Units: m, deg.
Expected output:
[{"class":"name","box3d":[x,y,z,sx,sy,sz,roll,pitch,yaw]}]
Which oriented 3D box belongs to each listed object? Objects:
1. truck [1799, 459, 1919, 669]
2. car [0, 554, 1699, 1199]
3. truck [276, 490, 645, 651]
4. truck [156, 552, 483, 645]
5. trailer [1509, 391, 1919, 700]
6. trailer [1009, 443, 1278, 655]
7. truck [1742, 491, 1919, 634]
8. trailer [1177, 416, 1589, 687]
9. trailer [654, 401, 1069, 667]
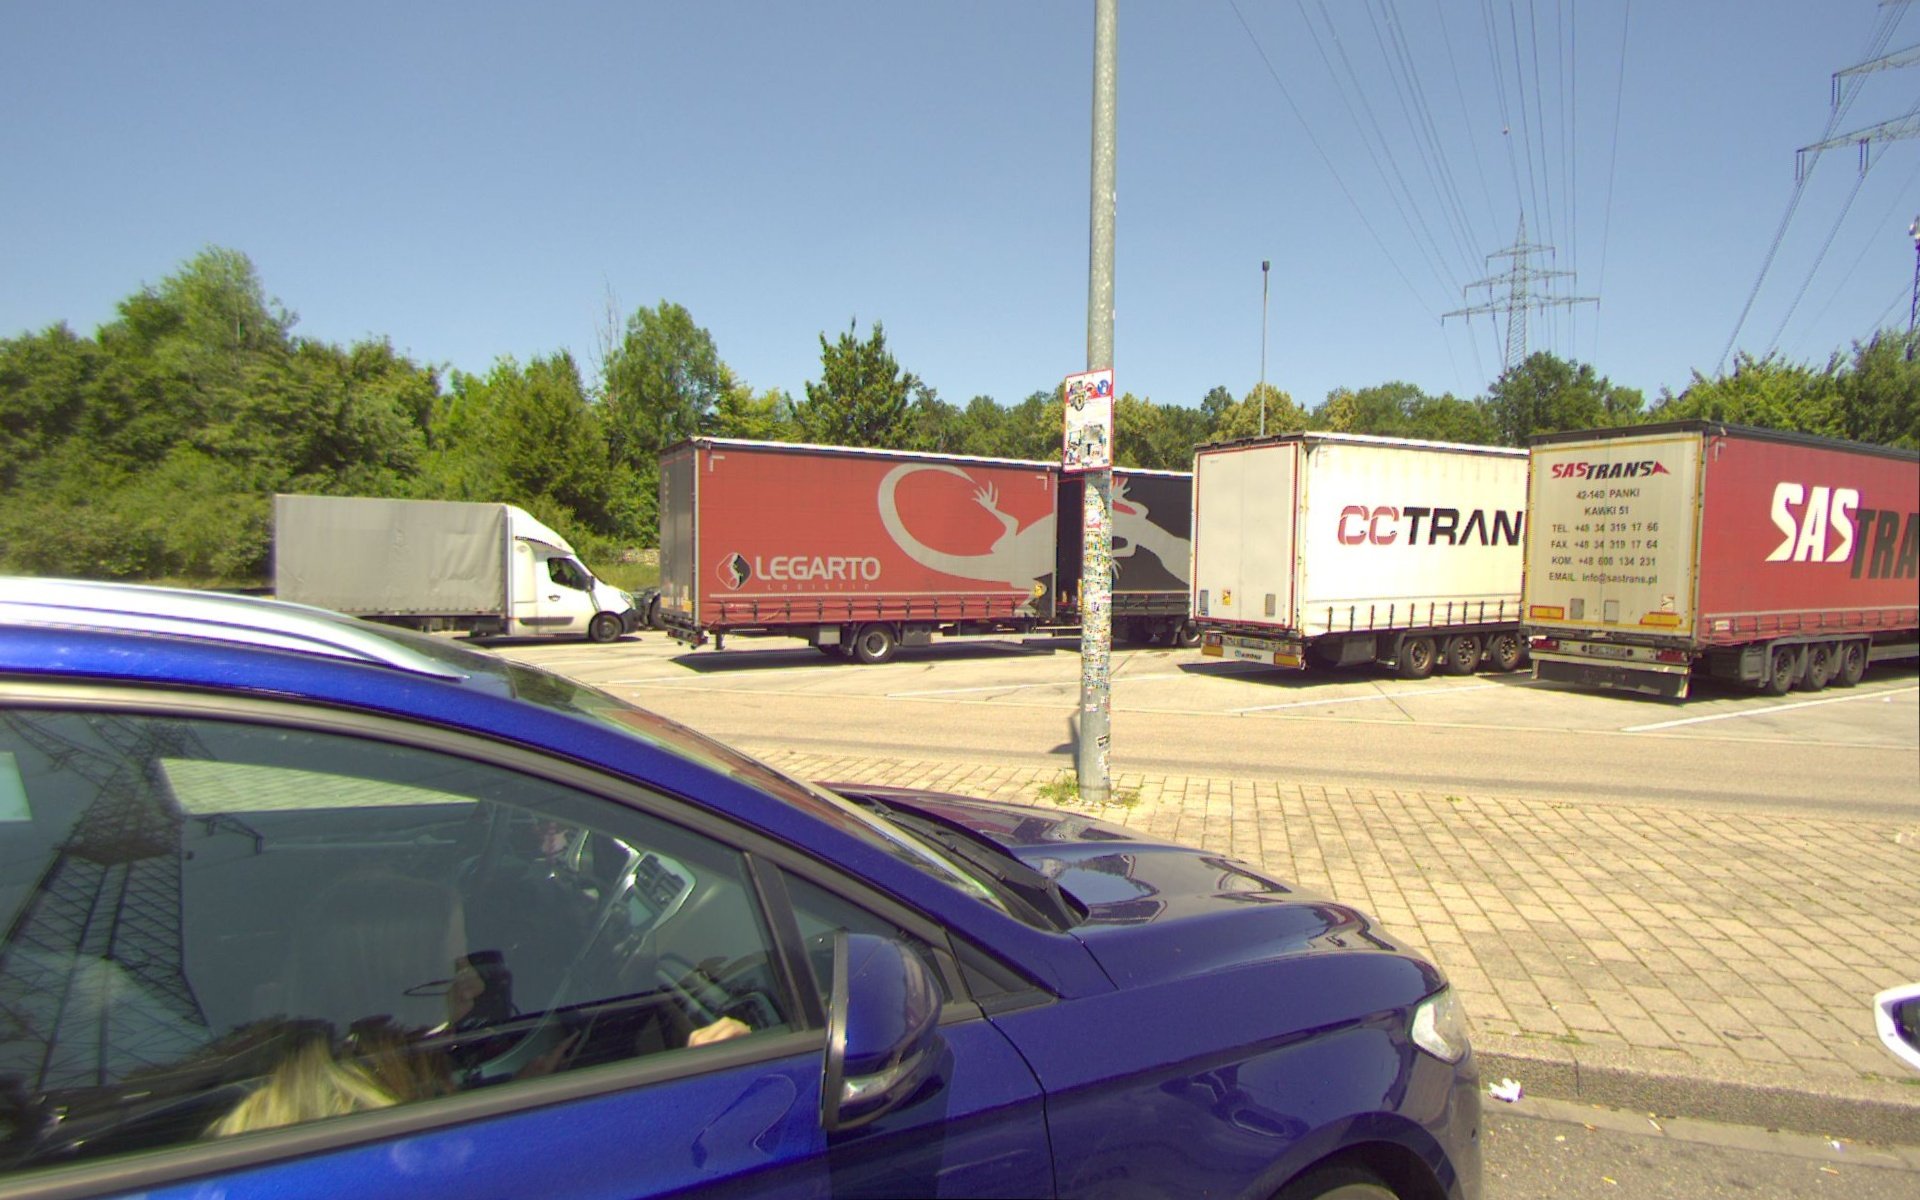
[{"class":"truck","box3d":[21.434,-0.708,22.059,5.824,4.189,2.792,0,0,-30]},{"class":"car","box3d":[-0.968,0.684,1.476,4.362,1.437,1.731,1,0,-30]},{"class":"truck","box3d":[-11.049,-0.569,22.755,7.171,3.194,2.160,0,1,-30]},{"class":"truck","box3d":[-15.370,-0.023,24.630,6.538,2.040,1.984,0,0,-31]},{"class":"trailer","box3d":[15.251,-0.727,18.423,13.046,4.276,2.786,0,0,-31]},{"class":"trailer","box3d":[4.443,-1.065,24.027,6.076,4.504,2.665,0,0,-30]},{"class":"truck","box3d":[29.399,-1.024,29.584,9.851,4.087,2.242,2,1,14]},{"class":"trailer","box3d":[8.111,-0.756,18.855,8.189,4.208,2.741,0,1,-30]},{"class":"trailer","box3d":[-1.801,-1.100,20.206,7.963,4.510,2.648,0,0,-31]}]
